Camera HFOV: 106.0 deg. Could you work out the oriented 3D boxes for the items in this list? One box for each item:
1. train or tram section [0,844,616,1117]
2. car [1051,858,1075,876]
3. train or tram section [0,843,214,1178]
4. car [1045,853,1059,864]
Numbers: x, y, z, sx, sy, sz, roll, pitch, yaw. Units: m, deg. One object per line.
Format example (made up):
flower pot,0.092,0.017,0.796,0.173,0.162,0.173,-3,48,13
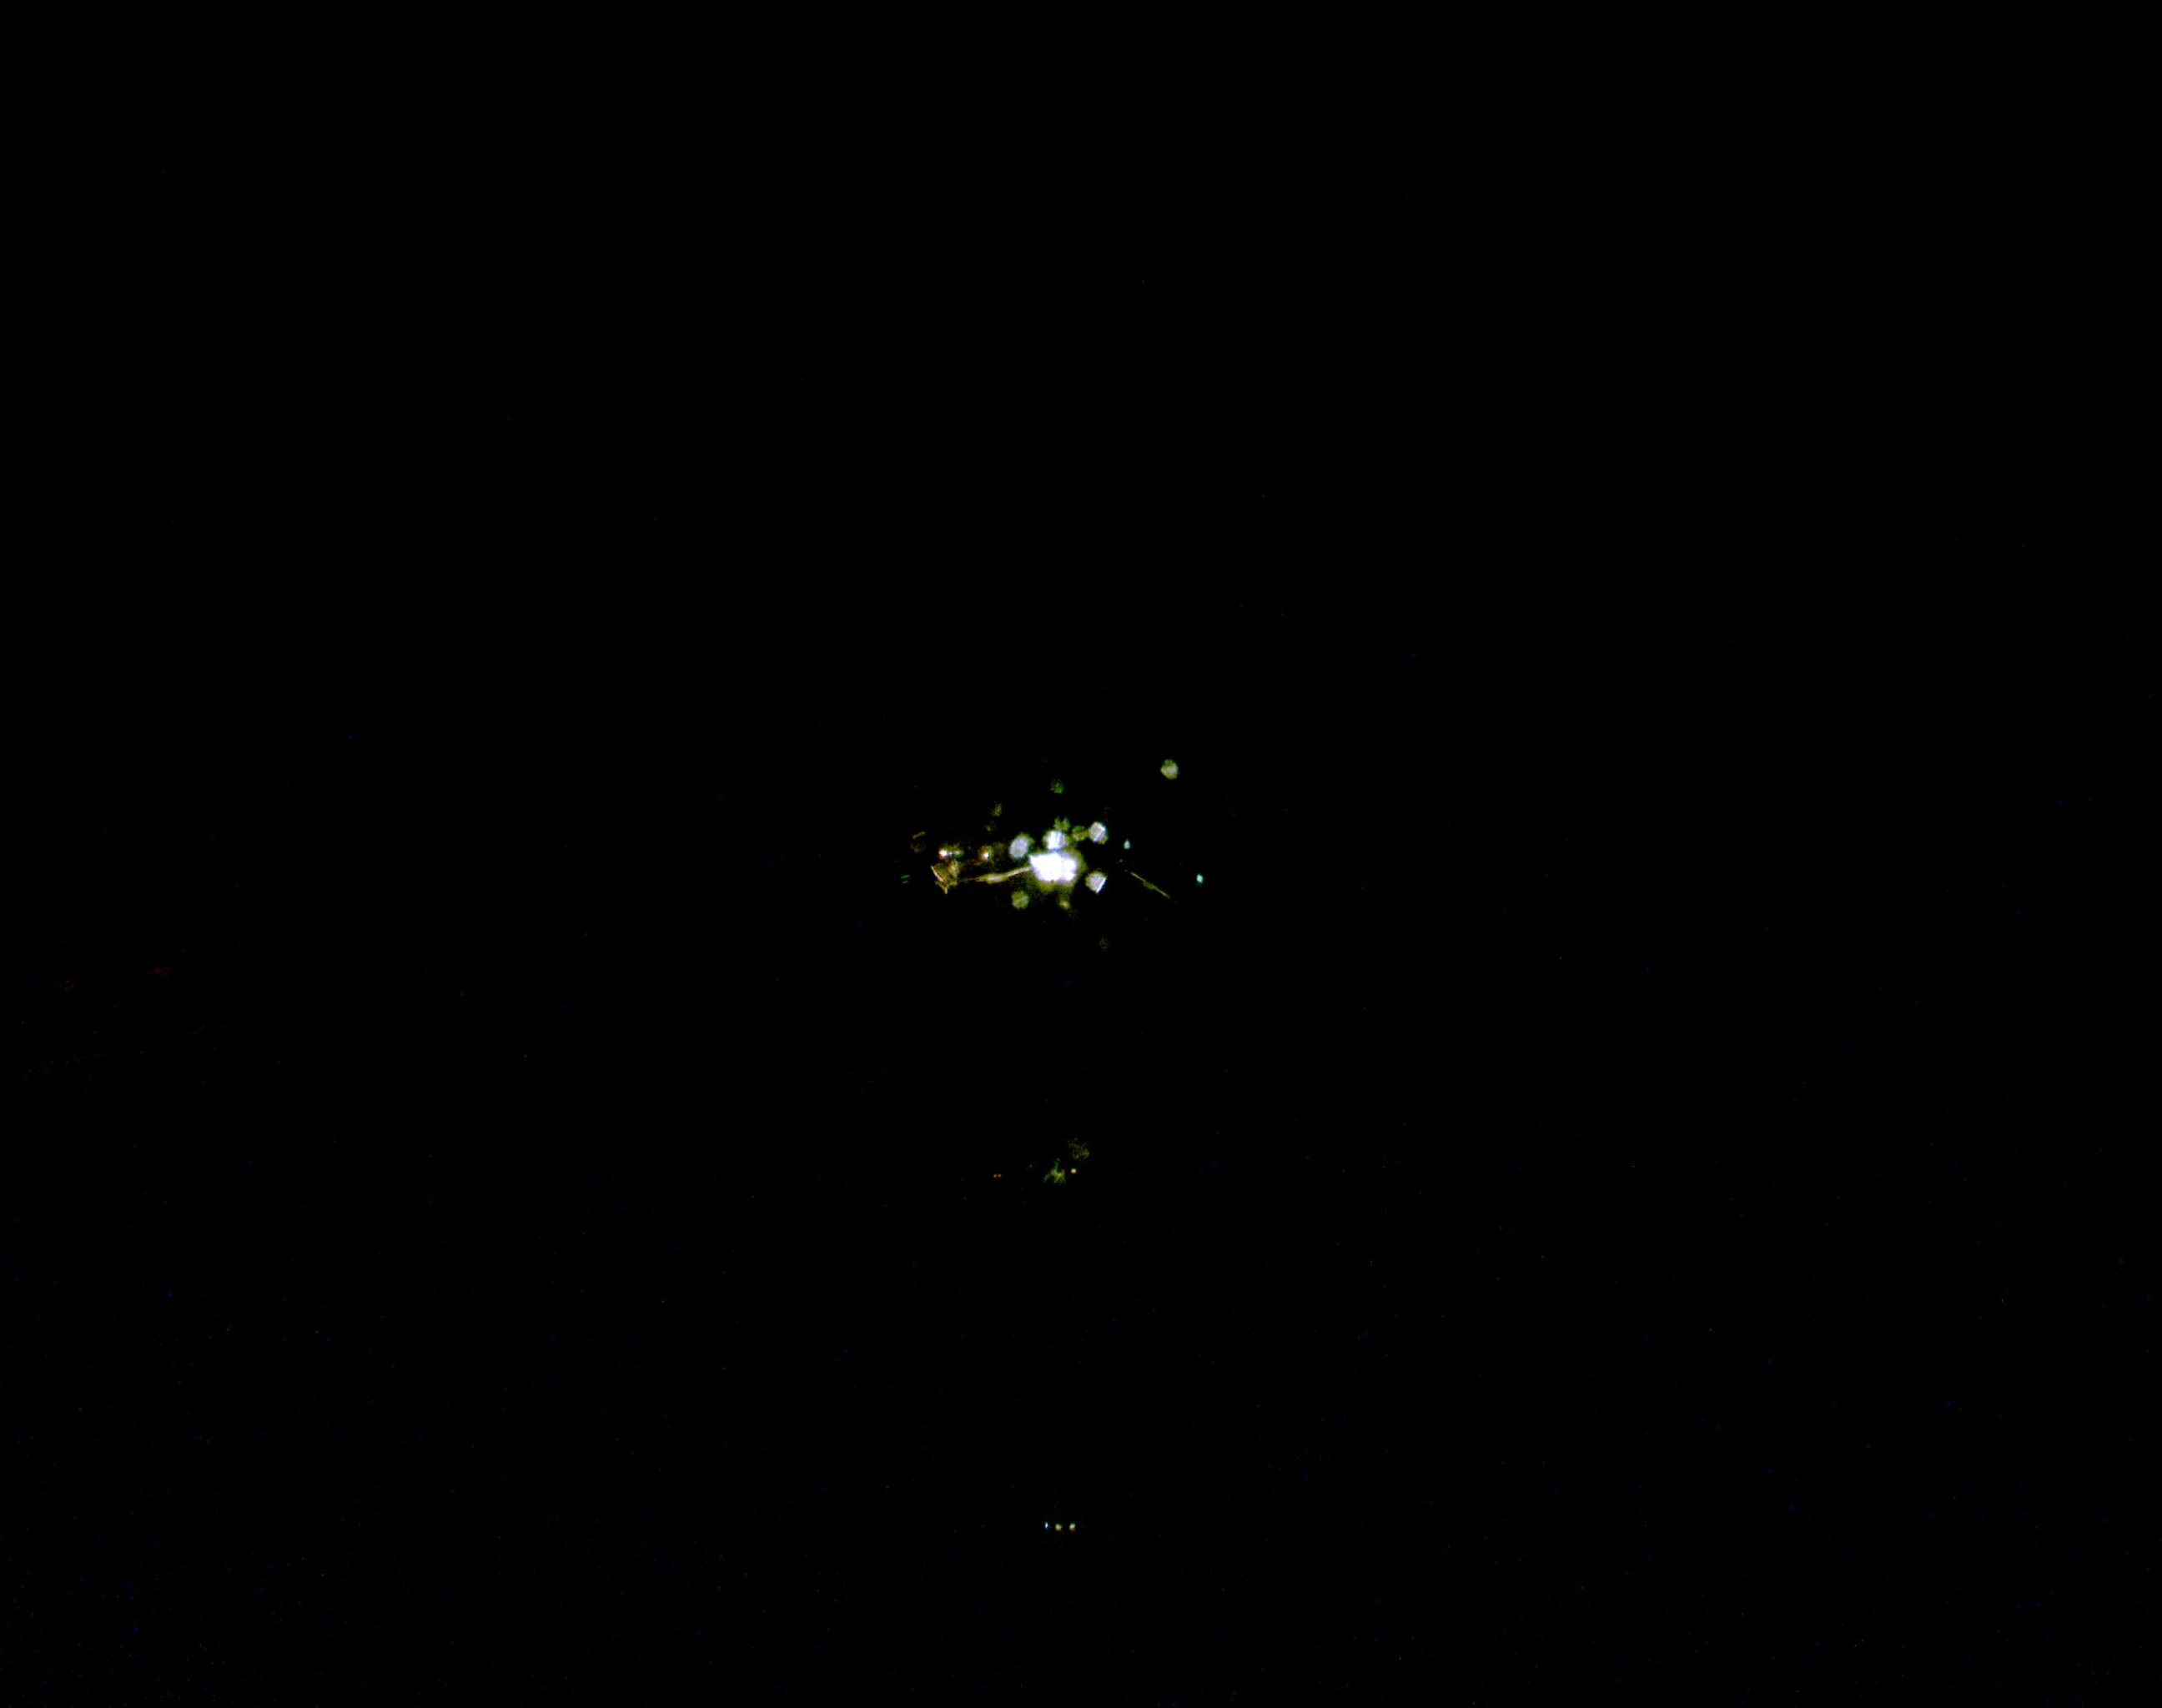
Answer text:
train or tram section,-12.447,1.612,14.816,2.833,3.460,8.555,-1,0,1
car,-1.578,1.177,72.634,1.987,1.457,4.097,-3,0,0
train or tram section,-12.657,1.663,6.167,2.833,3.460,8.555,-1,0,1
car,-4.446,0.640,126.182,1.987,1.612,4.097,-3,0,0
